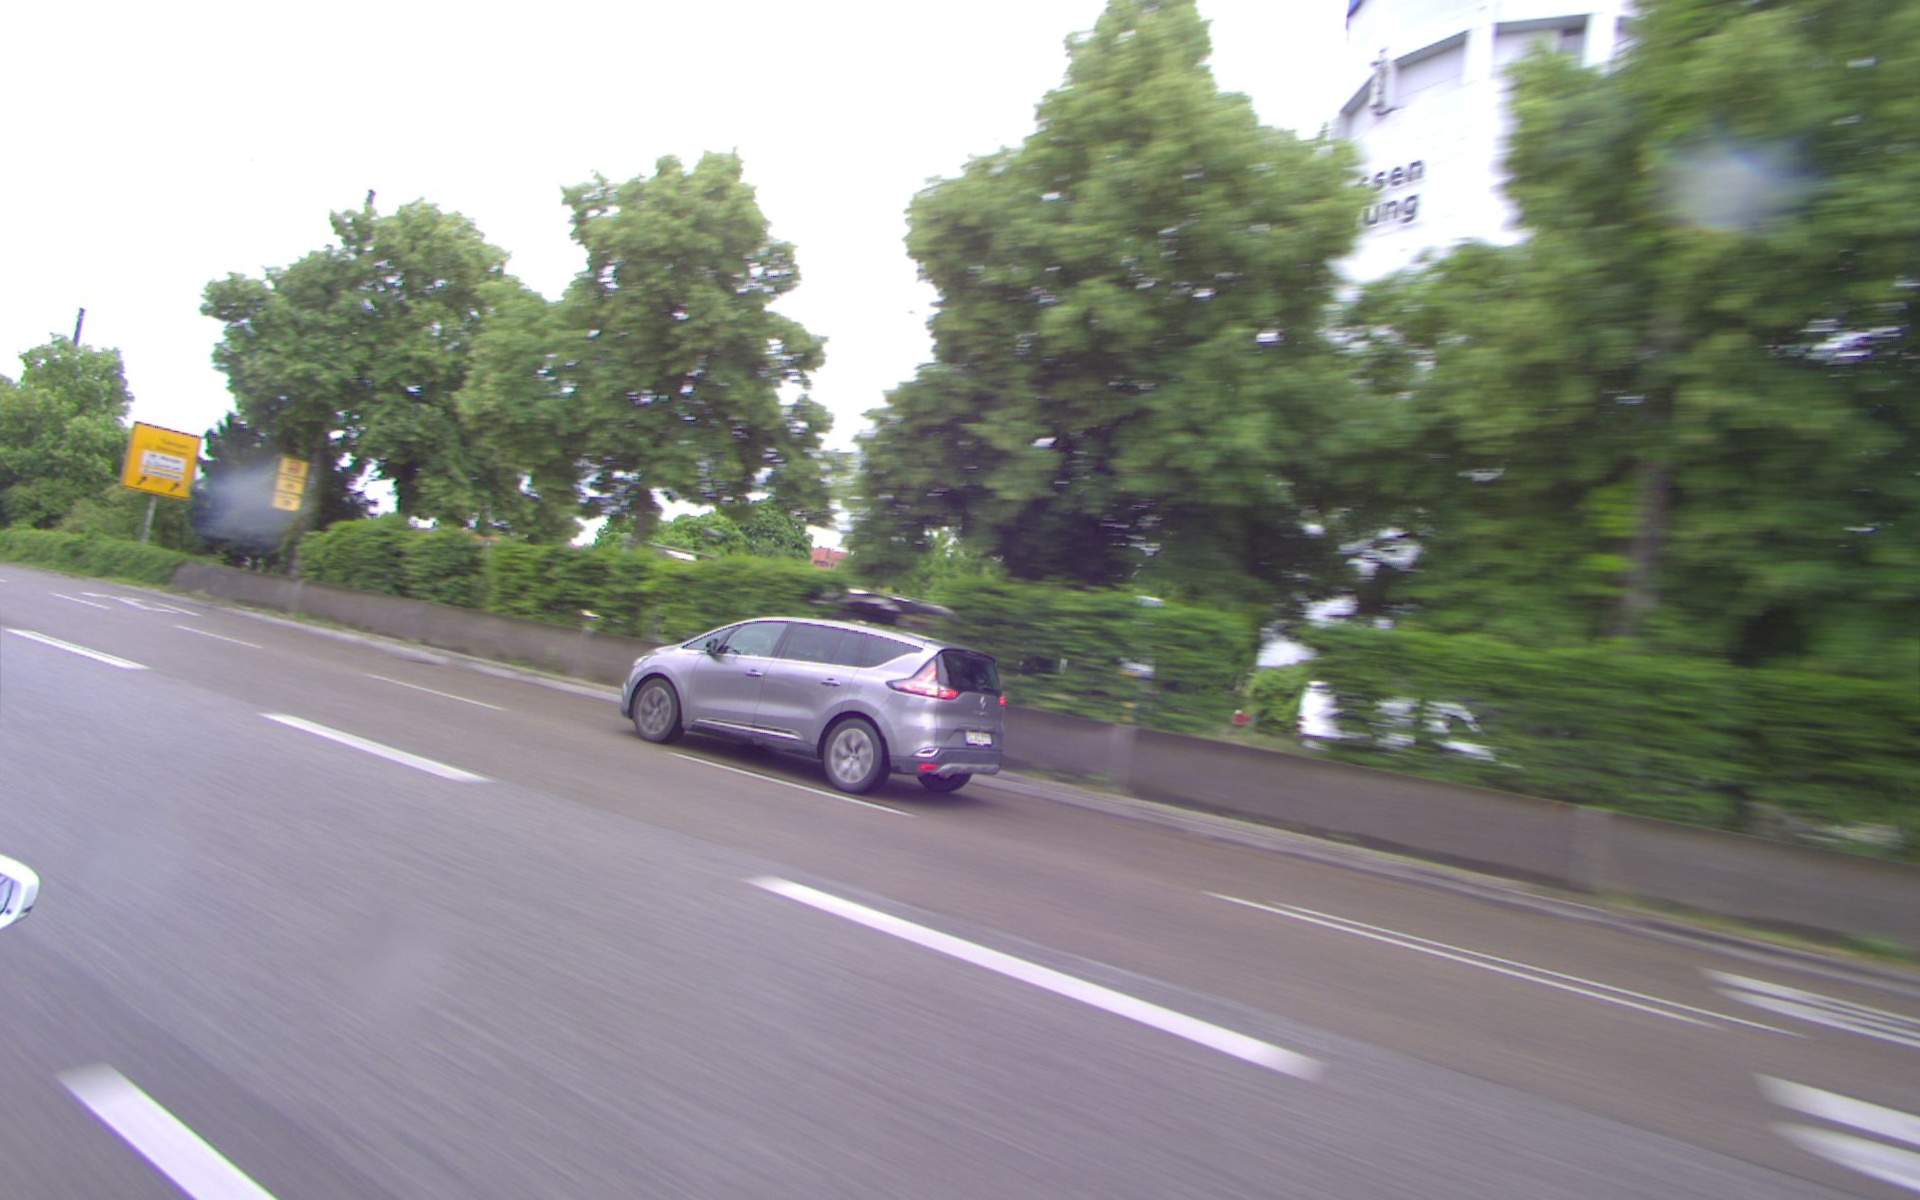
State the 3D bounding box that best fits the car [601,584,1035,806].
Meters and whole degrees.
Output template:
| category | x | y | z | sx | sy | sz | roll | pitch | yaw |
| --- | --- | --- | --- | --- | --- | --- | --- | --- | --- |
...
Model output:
| category | x | y | z | sx | sy | sz | roll | pitch | yaw |
| --- | --- | --- | --- | --- | --- | --- | --- | --- | --- |
| car | -1.669 | 0.986 | 11.211 | 4.548 | 1.665 | 1.731 | 6 | -5 | 32 |
